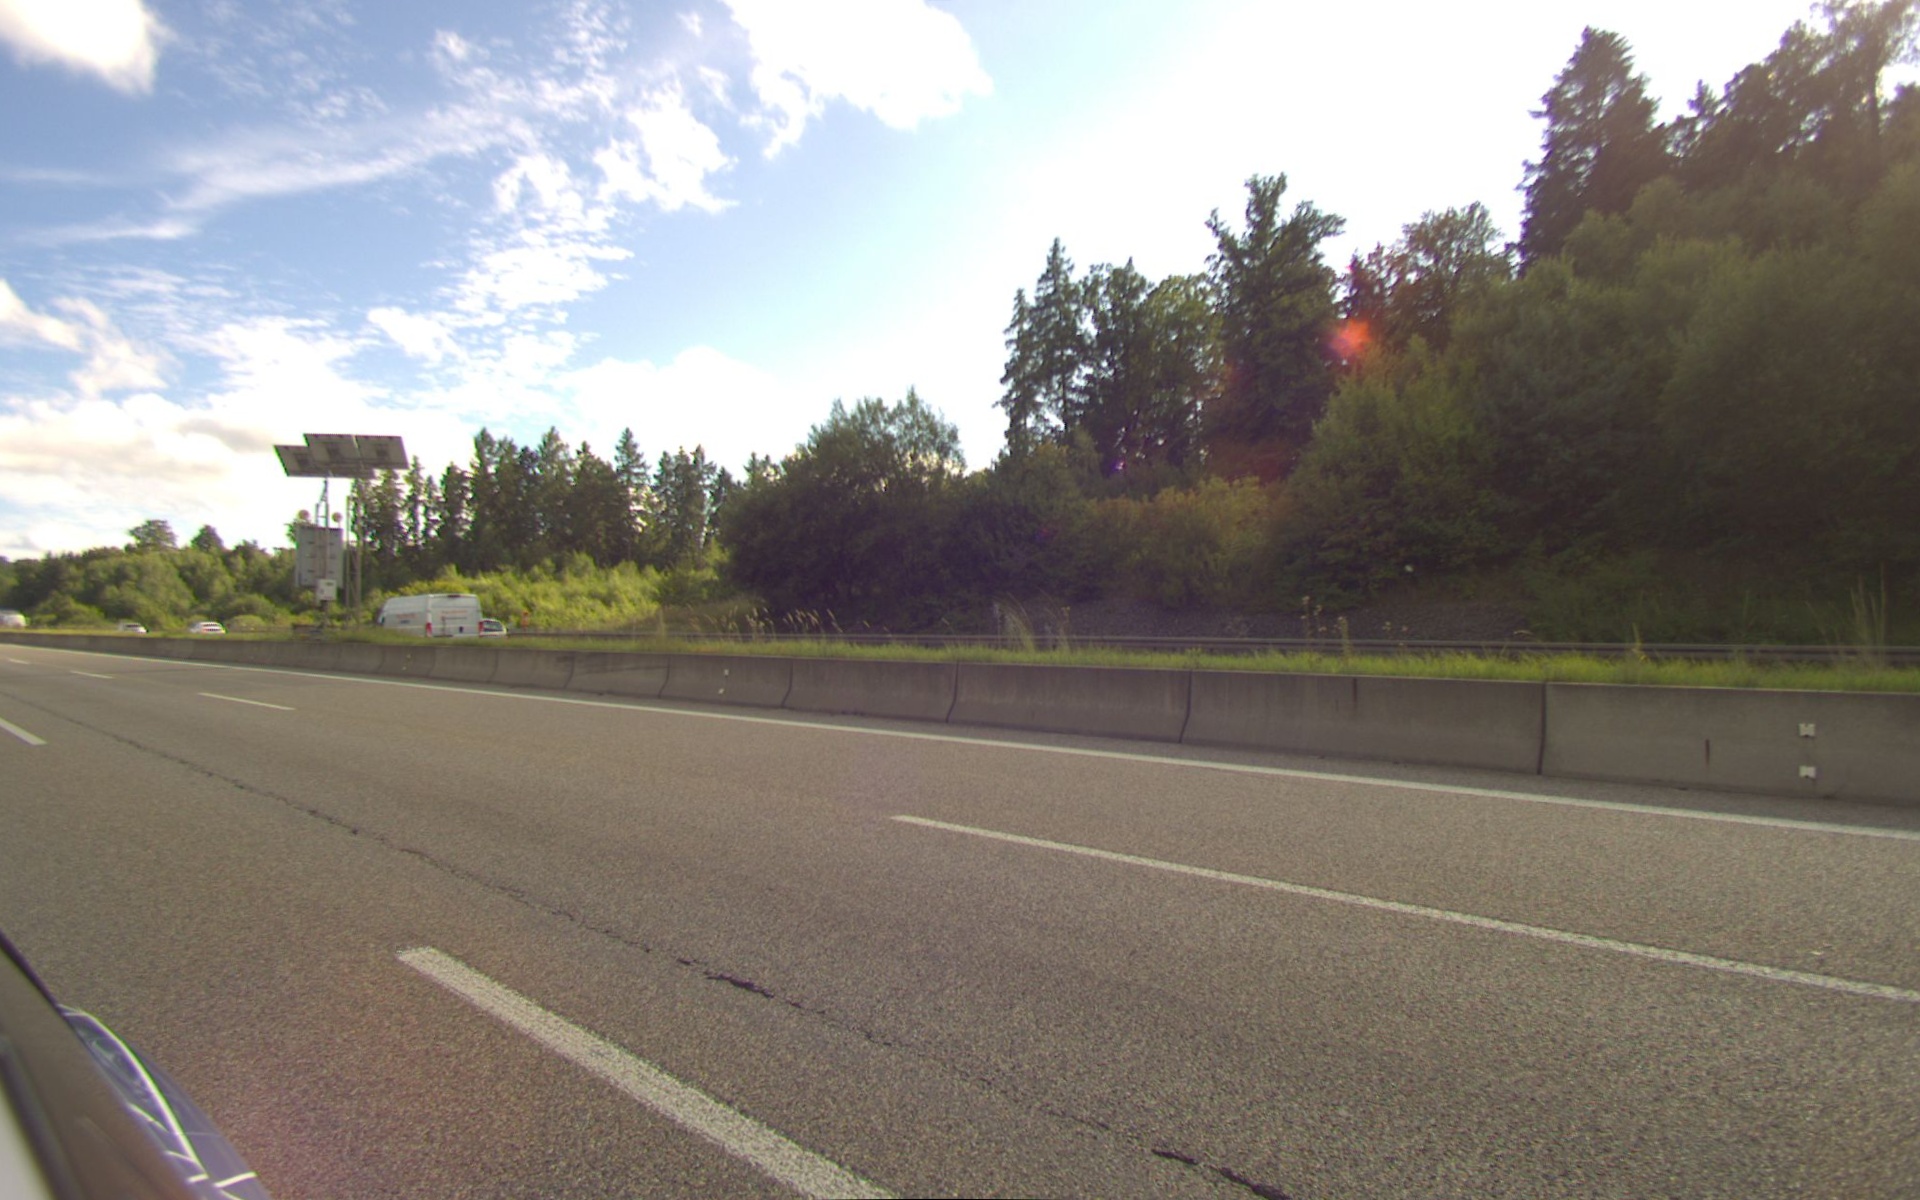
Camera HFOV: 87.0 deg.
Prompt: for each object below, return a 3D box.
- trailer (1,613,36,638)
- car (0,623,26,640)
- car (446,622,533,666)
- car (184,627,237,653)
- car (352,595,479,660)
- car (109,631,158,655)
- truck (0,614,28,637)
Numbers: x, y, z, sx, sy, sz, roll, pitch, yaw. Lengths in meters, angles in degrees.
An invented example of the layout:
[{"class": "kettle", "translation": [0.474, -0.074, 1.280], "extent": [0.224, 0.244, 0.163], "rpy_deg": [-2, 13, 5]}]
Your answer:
[{"class": "trailer", "translation": [-154.484, 4.170, 166.014], "extent": [12.204, 3.867, 3.091], "rpy_deg": [-2, -1, 42]}, {"class": "car", "translation": [-133.597, 4.424, 142.752], "extent": [6.721, 2.330, 2.087], "rpy_deg": [-2, -1, 42]}, {"class": "car", "translation": [-20.794, 1.921, 44.656], "extent": [4.491, 1.819, 1.904], "rpy_deg": [-2, -1, 42]}, {"class": "car", "translation": [-65.589, 3.491, 88.526], "extent": [5.964, 2.155, 2.552], "rpy_deg": [-2, -1, 42]}, {"class": "car", "translation": [-21.267, 1.061, 39.409], "extent": [5.827, 2.364, 2.552], "rpy_deg": [-2, -1, 42]}, {"class": "car", "translation": [-76.036, 3.924, 93.063], "extent": [5.964, 2.155, 2.552], "rpy_deg": [-2, -1, 42]}, {"class": "truck", "translation": [-160.278, 4.311, 171.153], "extent": [7.120, 3.867, 3.082], "rpy_deg": [-2, -1, 41]}]
